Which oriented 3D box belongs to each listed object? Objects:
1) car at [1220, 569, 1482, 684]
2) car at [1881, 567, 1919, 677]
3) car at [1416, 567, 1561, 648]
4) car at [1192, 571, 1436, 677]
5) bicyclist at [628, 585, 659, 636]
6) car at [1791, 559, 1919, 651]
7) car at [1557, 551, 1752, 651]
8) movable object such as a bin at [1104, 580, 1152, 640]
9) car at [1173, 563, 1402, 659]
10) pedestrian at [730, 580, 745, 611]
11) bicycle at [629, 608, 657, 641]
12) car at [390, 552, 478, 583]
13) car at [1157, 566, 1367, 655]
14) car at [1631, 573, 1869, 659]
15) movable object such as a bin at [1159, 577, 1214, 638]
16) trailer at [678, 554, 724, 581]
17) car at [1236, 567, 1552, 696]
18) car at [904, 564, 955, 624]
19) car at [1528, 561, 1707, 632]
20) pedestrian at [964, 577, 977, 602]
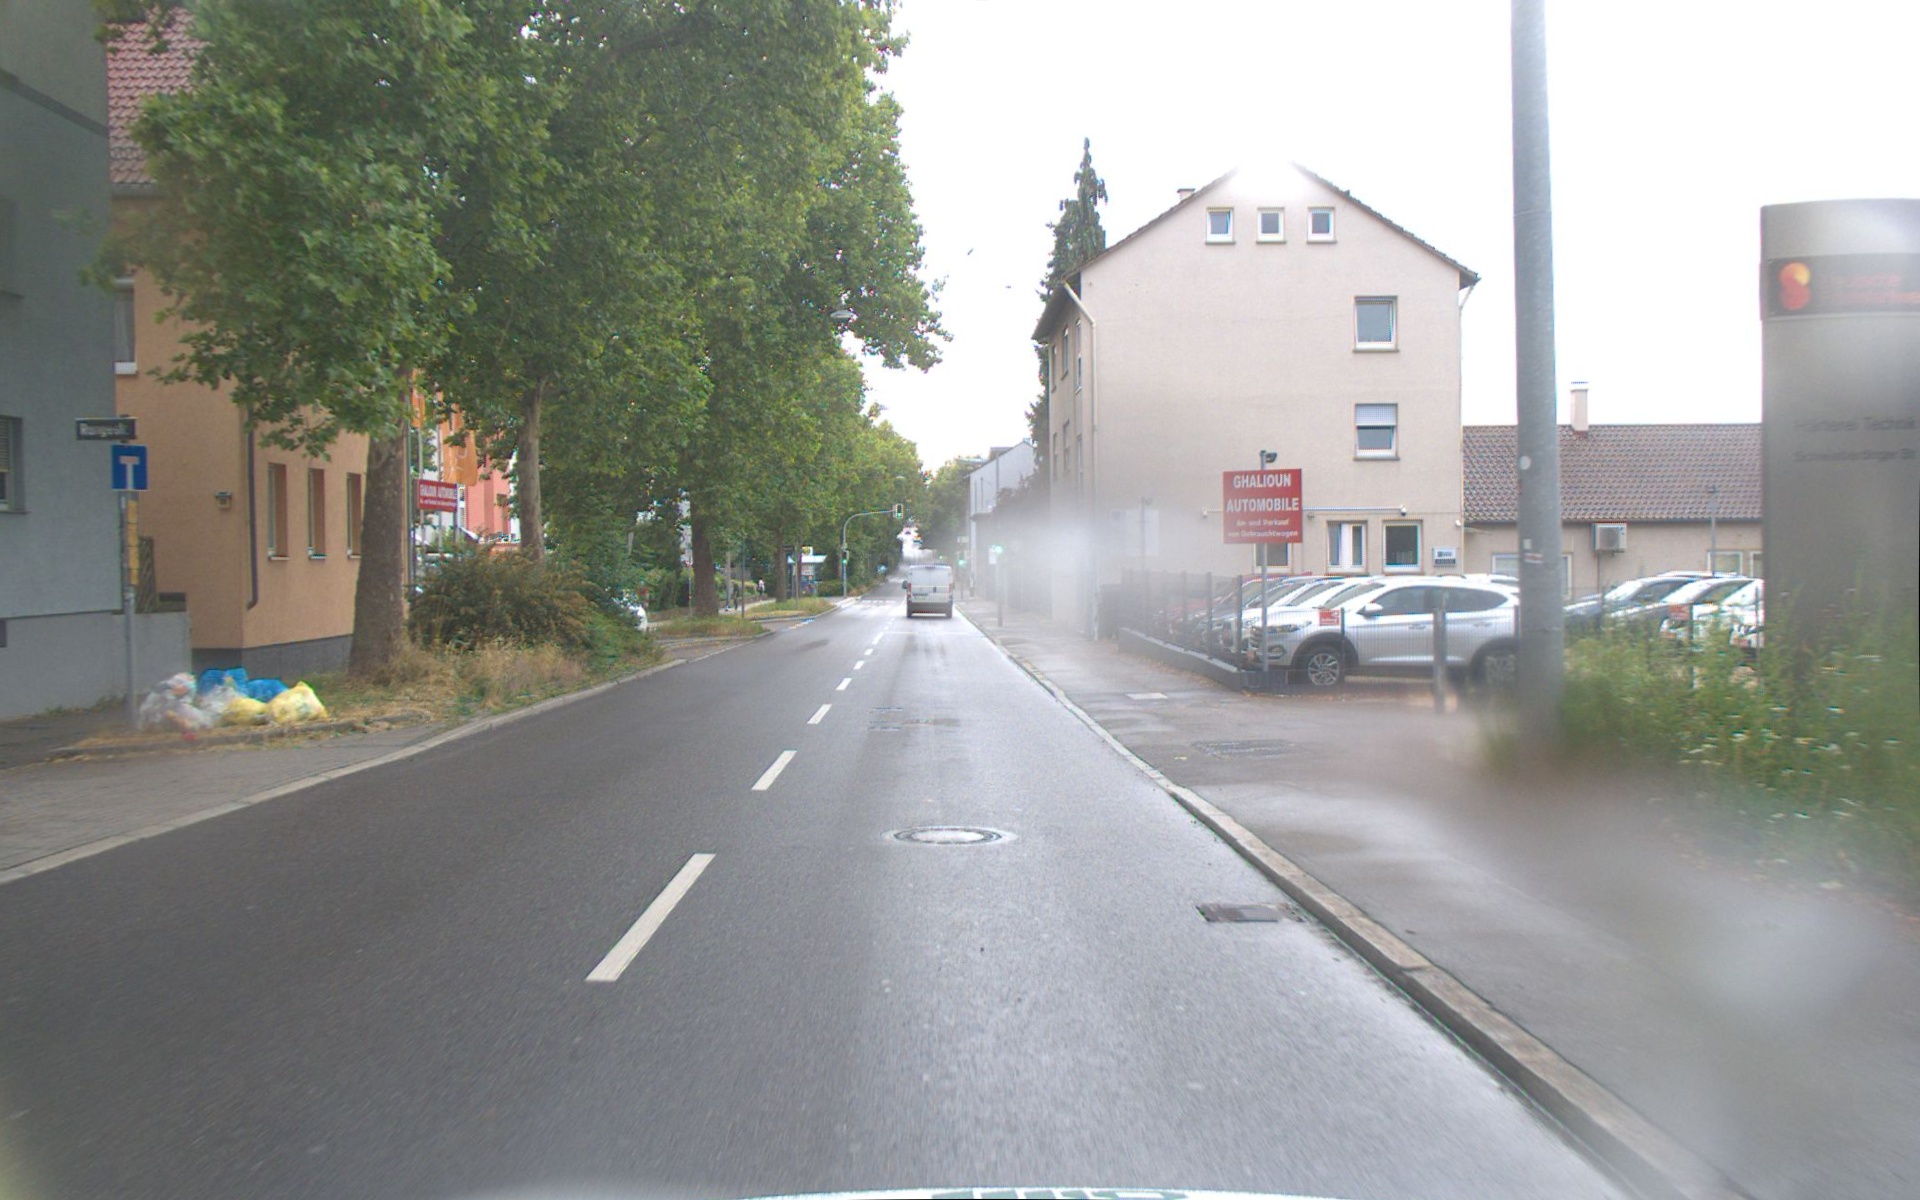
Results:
[{"bbox_3d":[6.393,0.418,27.331,3.869,1.754,1.791,1,0,-2],"label":"car"},{"bbox_3d":[16.691,0.320,25.115,4.412,1.655,1.869,0,0,-2],"label":"car"},{"bbox_3d":[10.971,0.161,34.565,1.771,1.557,3.626,1,-1,-2],"label":"car"},{"bbox_3d":[6.353,0.432,29.971,3.984,1.767,1.869,1,-1,-2],"label":"car"},{"bbox_3d":[-10.011,0.332,52.374,0.816,1.580,0.816,1,-1,-3],"label":"bicyclist"},{"bbox_3d":[16.641,0.127,28.243,3.907,1.494,1.999,1,-1,-3],"label":"car"},{"bbox_3d":[15.093,0.033,36.048,3.508,2.049,1.723,1,-1,-4],"label":"car"},{"bbox_3d":[4.430,0.266,43.788,1.088,1.536,0.986,-2,-1,-2],"label":"movable object such as a bin"},{"bbox_3d":[6.453,0.218,32.896,4.143,1.767,1.869,1,-1,-2],"label":"car"},{"bbox_3d":[-11.898,-0.237,88.312,0.741,1.639,0.834,1,-1,-6],"label":"pedestrian"},{"bbox_3d":[-10.028,0.756,52.314,0.543,1.013,2.264,1,-1,-3],"label":"bicycle"},{"bbox_3d":[-27.121,-1.674,85.316,3.905,1.439,1.849,1,-1,1],"label":"car"},{"bbox_3d":[6.465,0.230,35.714,4.143,1.767,1.869,1,-1,-2],"label":"car"},{"bbox_3d":[16.029,0.329,33.666,4.002,1.628,1.793,1,-1,-3],"label":"car"},{"bbox_3d":[5.978,0.202,43.755,1.209,1.536,1.110,-2,-1,-2],"label":"movable object such as a bin"},{"bbox_3d":[-16.249,-2.028,103.920,2.649,1.674,1.480,1,0,-1],"label":"trailer"},{"bbox_3d":[6.445,0.470,24.885,4.215,1.799,1.999,1,-1,-2],"label":"car"},{"bbox_3d":[-1.350,-0.233,73.410,2.236,2.597,3.999,0,-1,-1],"label":"car"},{"bbox_3d":[16.061,-0.083,40.584,3.903,1.621,1.822,1,-1,16],"label":"car"},{"bbox_3d":[0.739,-0.717,115.165,0.728,1.734,0.900,1,-1,-7],"label":"pedestrian"}]
